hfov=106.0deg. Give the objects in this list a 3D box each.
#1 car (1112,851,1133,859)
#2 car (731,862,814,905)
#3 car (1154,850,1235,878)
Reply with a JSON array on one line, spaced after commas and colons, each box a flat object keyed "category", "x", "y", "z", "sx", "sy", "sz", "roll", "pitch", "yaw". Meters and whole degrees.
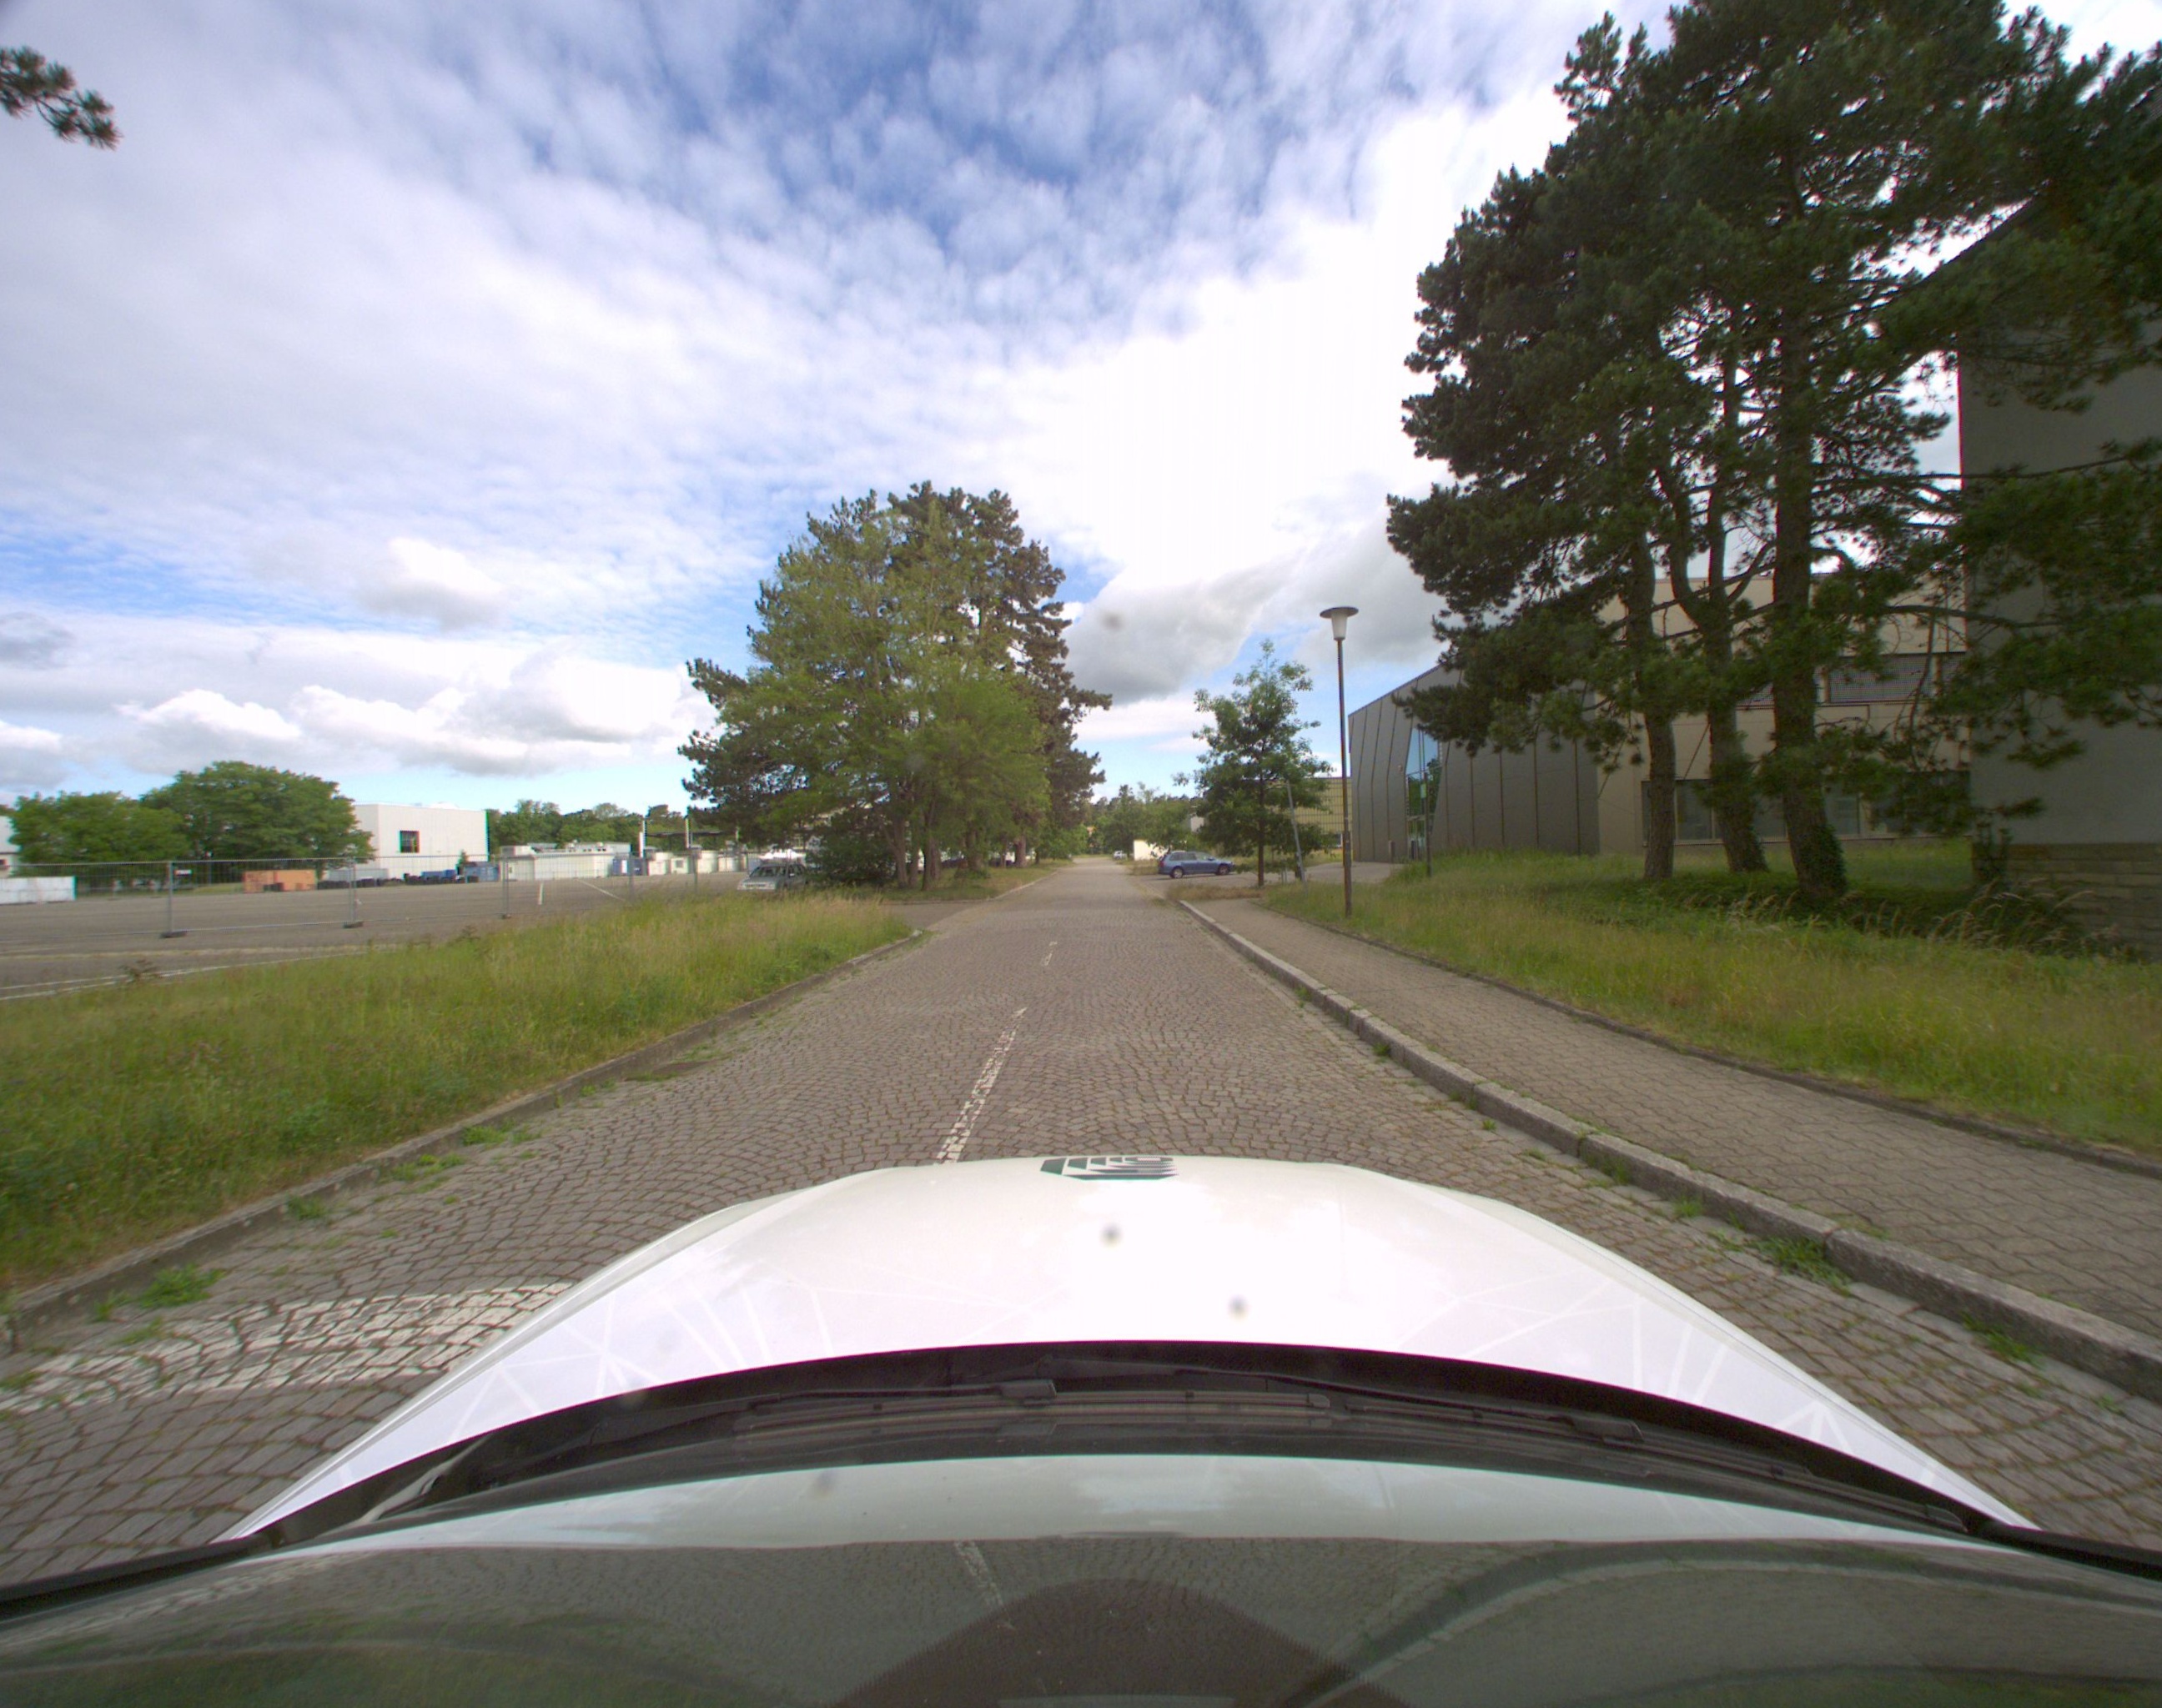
[{"category": "car", "x": 8.319, "y": 0.146, "z": 164.175, "sx": 3.980, "sy": 1.398, "sz": 1.997, "roll": -2, "pitch": 0, "yaw": -5}, {"category": "car", "x": -12.091, "y": 1.099, "z": 32.195, "sx": 1.607, "sy": 1.487, "sz": 4.001, "roll": -2, "pitch": 0, "yaw": 1}, {"category": "car", "x": 6.525, "y": 0.555, "z": 47.085, "sx": 4.331, "sy": 1.422, "sz": 1.999, "roll": -2, "pitch": 0, "yaw": -1}]
